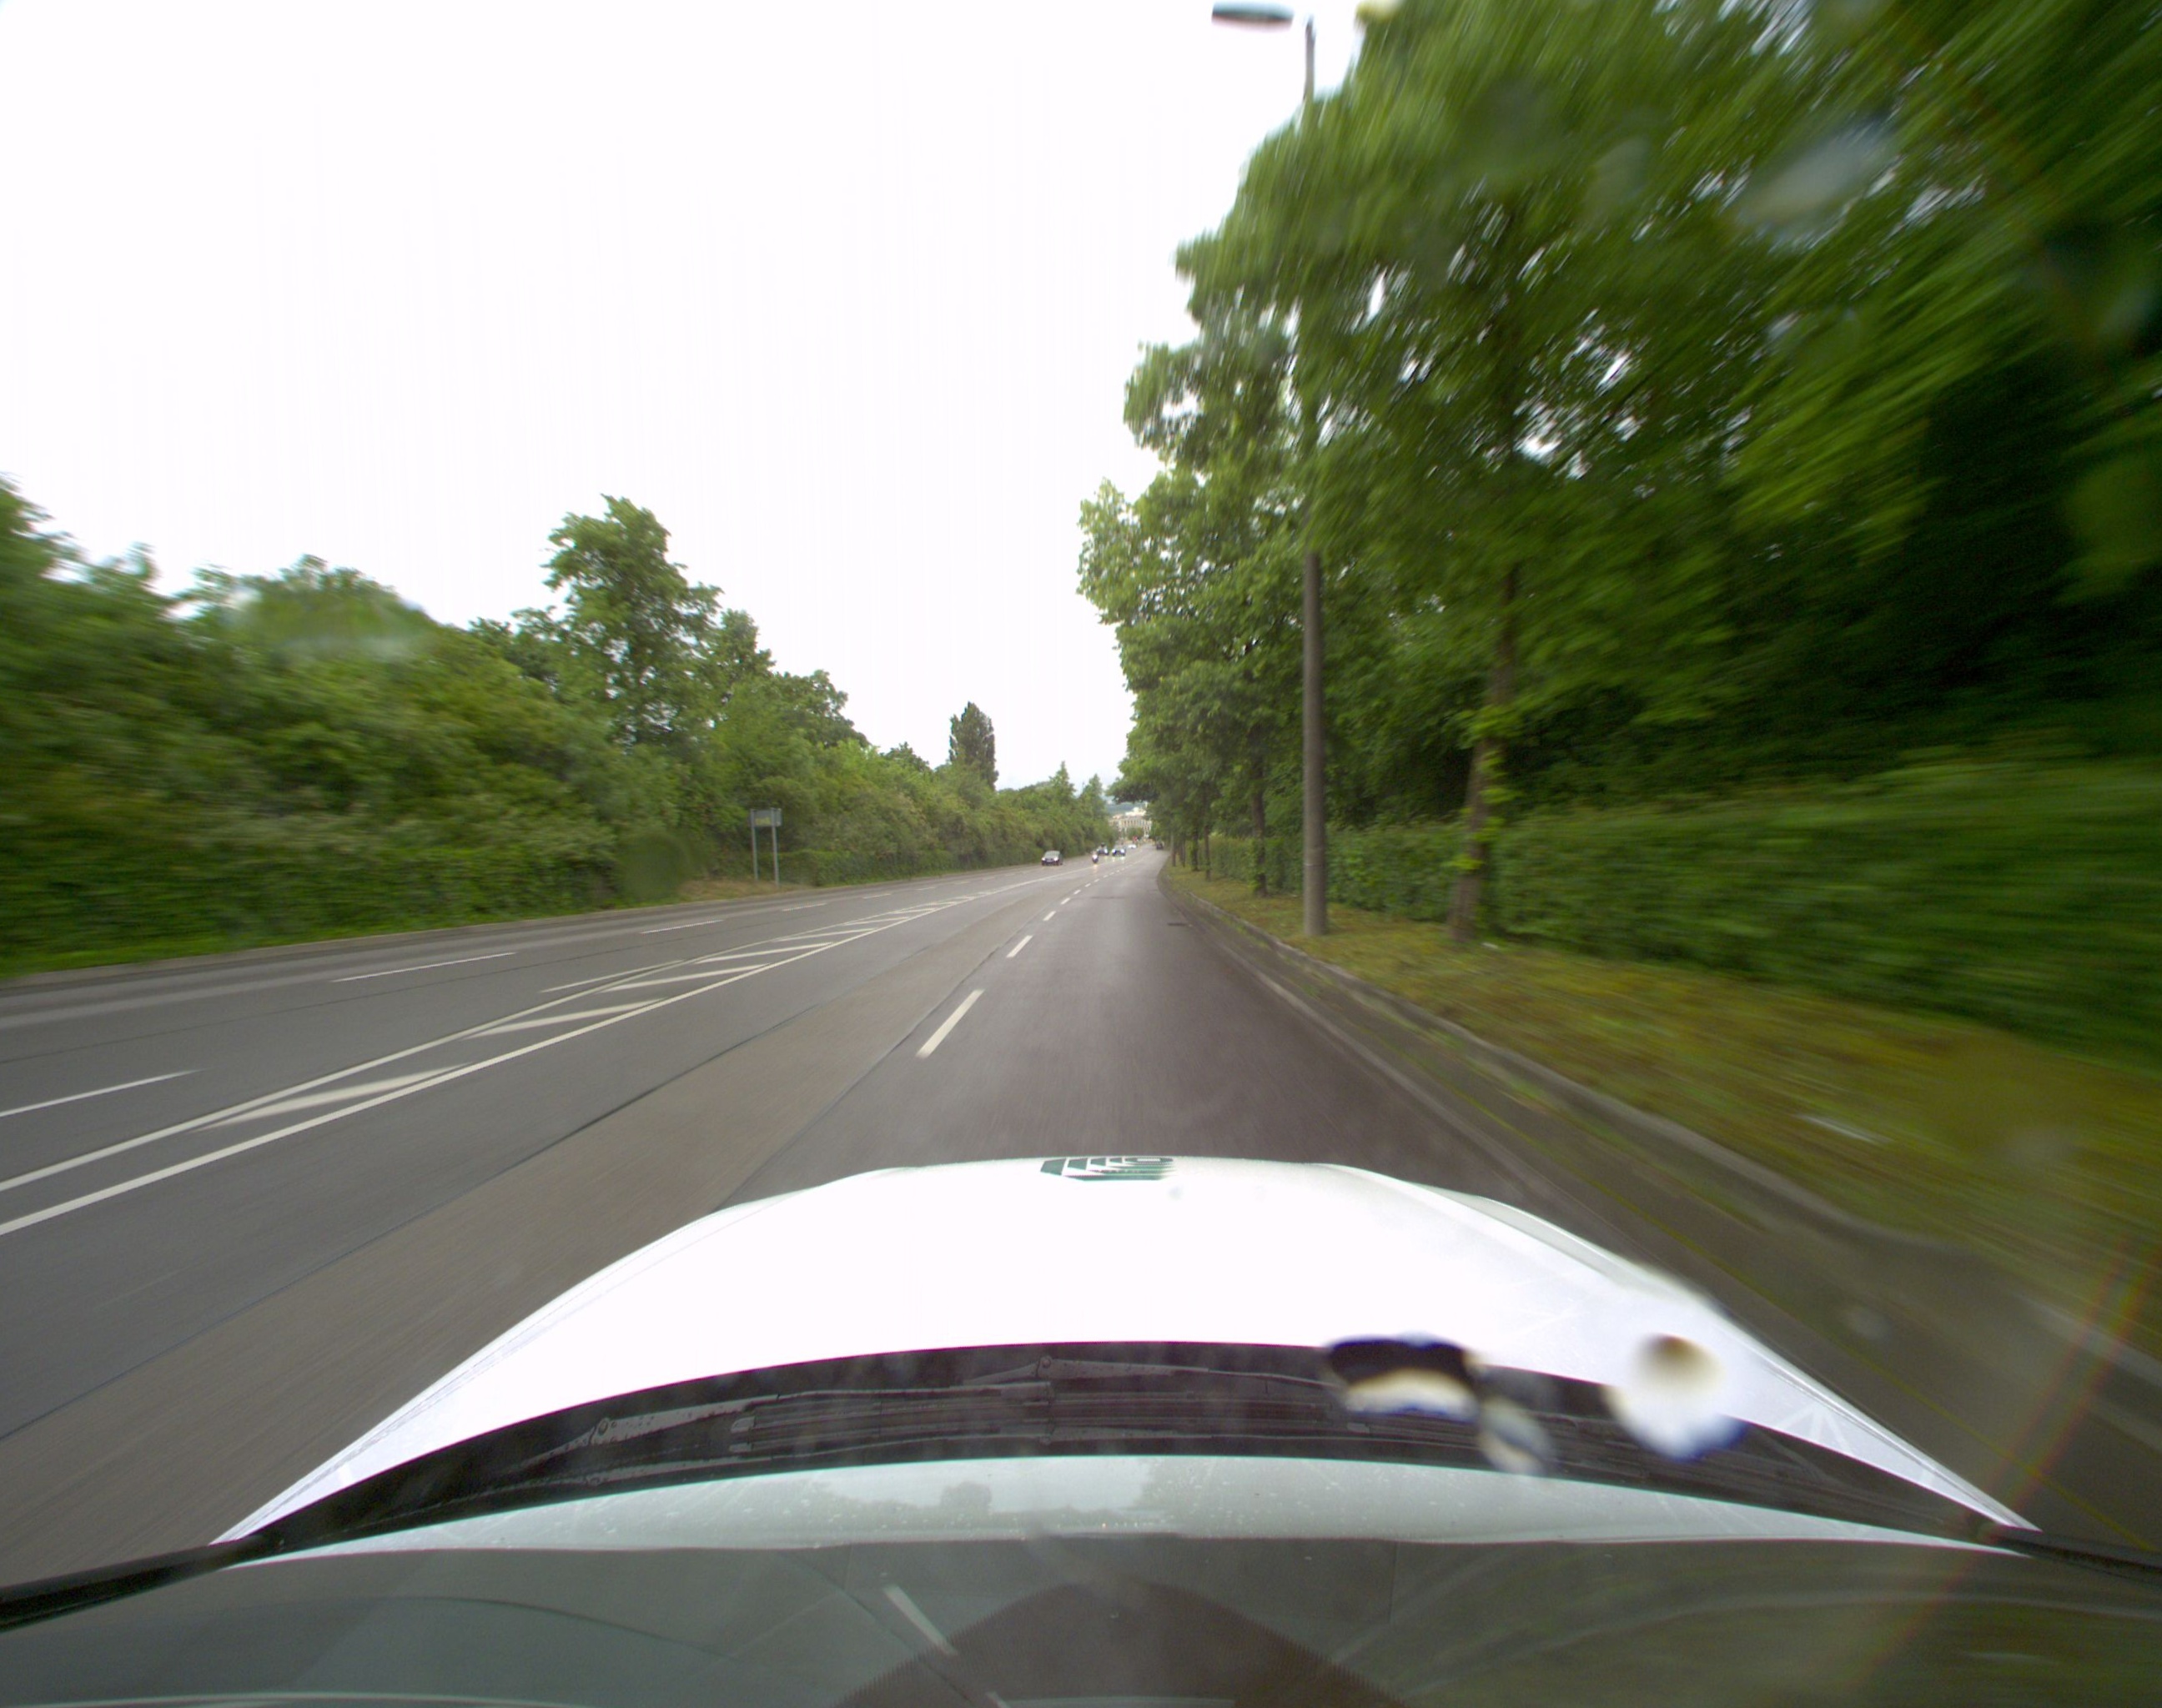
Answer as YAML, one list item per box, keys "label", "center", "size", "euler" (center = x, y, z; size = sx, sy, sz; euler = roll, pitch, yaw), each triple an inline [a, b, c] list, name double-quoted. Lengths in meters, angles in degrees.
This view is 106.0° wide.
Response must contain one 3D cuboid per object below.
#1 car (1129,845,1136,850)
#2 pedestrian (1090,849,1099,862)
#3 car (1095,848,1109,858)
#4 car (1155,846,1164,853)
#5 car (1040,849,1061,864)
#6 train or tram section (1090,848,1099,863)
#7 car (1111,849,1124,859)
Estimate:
- label: "car"
  center: [15.074, -1.867, 239.158]
  size: [1.706, 1.505, 4.525]
  euler: [1, 1, 7]
- label: "pedestrian"
  center: [1.468, 0.177, 88.633]
  size: [0.787, 1.383, 0.976]
  euler: [1, 0, 5]
- label: "car"
  center: [3.569, -0.188, 137.889]
  size: [1.889, 1.553, 4.639]
  euler: [1, 0, 7]
- label: "car"
  center: [19.350, -1.165, 200.132]
  size: [1.839, 1.702, 3.801]
  euler: [1, -1, 8]
- label: "car"
  center: [-2.981, 0.294, 80.293]
  size: [1.541, 1.437, 3.702]
  euler: [0, 0, 6]
- label: "train or tram section"
  center: [1.463, 0.177, 88.586]
  size: [0.787, 1.570, 2.387]
  euler: [1, 0, 5]
- label: "car"
  center: [5.960, 0.024, 132.613]
  size: [1.803, 1.657, 4.603]
  euler: [0, 0, 6]
